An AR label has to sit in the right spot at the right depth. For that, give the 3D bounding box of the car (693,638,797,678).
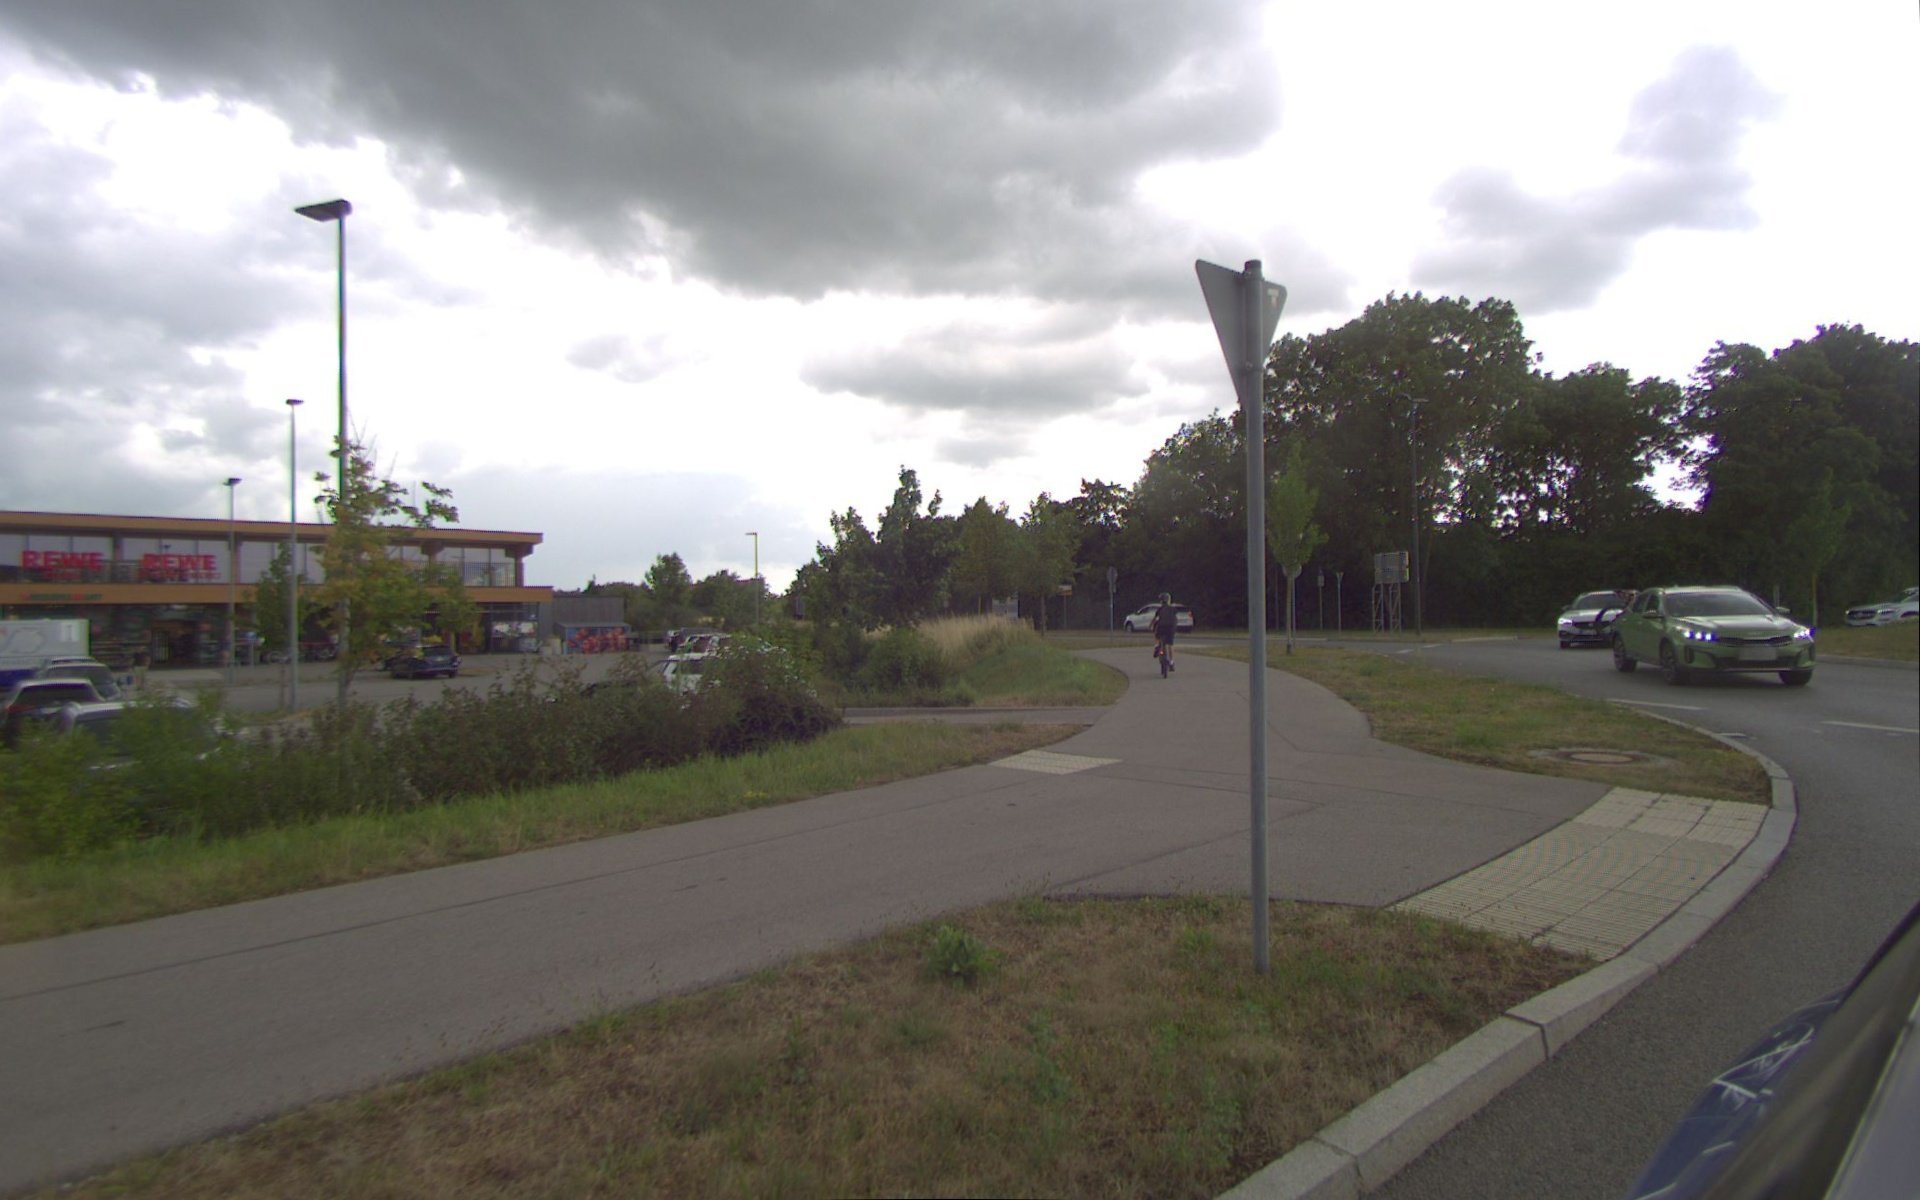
[{"bbox_3d":[-8.454,2.249,39.788,3.916,1.377,1.705,0,1,-13],"label":"car"}]

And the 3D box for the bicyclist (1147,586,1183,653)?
[{"bbox_3d":[3.922,0.365,19.407,0.545,1.259,0.659,0,0,0],"label":"bicyclist"}]

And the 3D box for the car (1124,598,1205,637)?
[{"bbox_3d":[10.418,0.852,51.831,1.959,1.794,4.080,0,1,-26],"label":"car"}]

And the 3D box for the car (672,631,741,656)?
[{"bbox_3d":[-15.115,2.593,60.474,3.916,1.377,1.705,0,1,-13],"label":"car"}]

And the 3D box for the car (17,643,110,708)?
[{"bbox_3d":[-31.391,2.591,35.544,2.032,1.871,4.000,0,1,-36],"label":"car"}]

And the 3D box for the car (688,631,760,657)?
[{"bbox_3d":[-13.410,2.487,57.631,3.916,1.377,1.705,0,1,-13],"label":"car"}]

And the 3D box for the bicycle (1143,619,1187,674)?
[{"bbox_3d":[3.923,0.874,19.418,0.557,0.974,1.301,0,1,0],"label":"bicycle"}]

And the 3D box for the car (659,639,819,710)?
[{"bbox_3d":[-6.044,1.991,27.765,4.154,1.738,1.705,0,1,-13],"label":"car"}]

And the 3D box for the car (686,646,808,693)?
[{"bbox_3d":[-7.176,2.313,34.138,3.916,1.377,1.848,0,1,-13],"label":"car"}]

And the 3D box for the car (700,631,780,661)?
[{"bbox_3d":[-11.314,2.344,52.064,3.916,1.377,1.705,0,1,-13],"label":"car"}]

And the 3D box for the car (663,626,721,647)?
[{"bbox_3d":[-18.829,2.540,71.293,3.916,1.377,1.705,0,1,-13],"label":"car"}]

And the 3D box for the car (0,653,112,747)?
[{"bbox_3d":[-19.065,2.033,21.322,1.771,1.728,3.385,0,-2,-41],"label":"car"}]

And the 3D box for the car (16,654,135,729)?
[{"bbox_3d":[-23.277,2.337,26.777,1.962,1.504,4.131,0,1,-36],"label":"car"}]

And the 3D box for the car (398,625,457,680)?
[{"bbox_3d":[-23.024,2.208,43.704,1.961,2.039,4.003,0,1,-32],"label":"car"}]

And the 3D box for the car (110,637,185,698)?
[{"bbox_3d":[-30.258,2.451,37.796,1.962,1.894,4.274,0,1,-36],"label":"car"}]

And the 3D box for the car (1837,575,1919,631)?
[{"bbox_3d":[30.294,0.086,31.664,3.924,1.705,2.000,0,1,0],"label":"car"}]

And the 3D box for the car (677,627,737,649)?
[{"bbox_3d":[-17.169,2.594,68.849,3.916,1.377,1.705,0,1,-13],"label":"car"}]

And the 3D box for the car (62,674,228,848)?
[{"bbox_3d":[-11.550,2.094,14.268,1.629,1.727,3.993,0,1,-41],"label":"car"}]

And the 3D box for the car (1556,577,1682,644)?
[{"bbox_3d":[16.891,0.235,25.862,1.866,1.561,4.132,-2,0,45],"label":"car"}]

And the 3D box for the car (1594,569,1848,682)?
[{"bbox_3d":[12.531,0.359,17.120,1.847,1.608,5.033,-2,0,18],"label":"car"}]

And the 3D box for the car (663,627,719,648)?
[{"bbox_3d":[-19.623,2.714,73.883,3.916,1.377,1.705,0,1,-13],"label":"car"}]

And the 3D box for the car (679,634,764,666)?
[{"bbox_3d":[-11.465,2.402,48.668,3.916,1.377,1.705,0,1,-13],"label":"car"}]
